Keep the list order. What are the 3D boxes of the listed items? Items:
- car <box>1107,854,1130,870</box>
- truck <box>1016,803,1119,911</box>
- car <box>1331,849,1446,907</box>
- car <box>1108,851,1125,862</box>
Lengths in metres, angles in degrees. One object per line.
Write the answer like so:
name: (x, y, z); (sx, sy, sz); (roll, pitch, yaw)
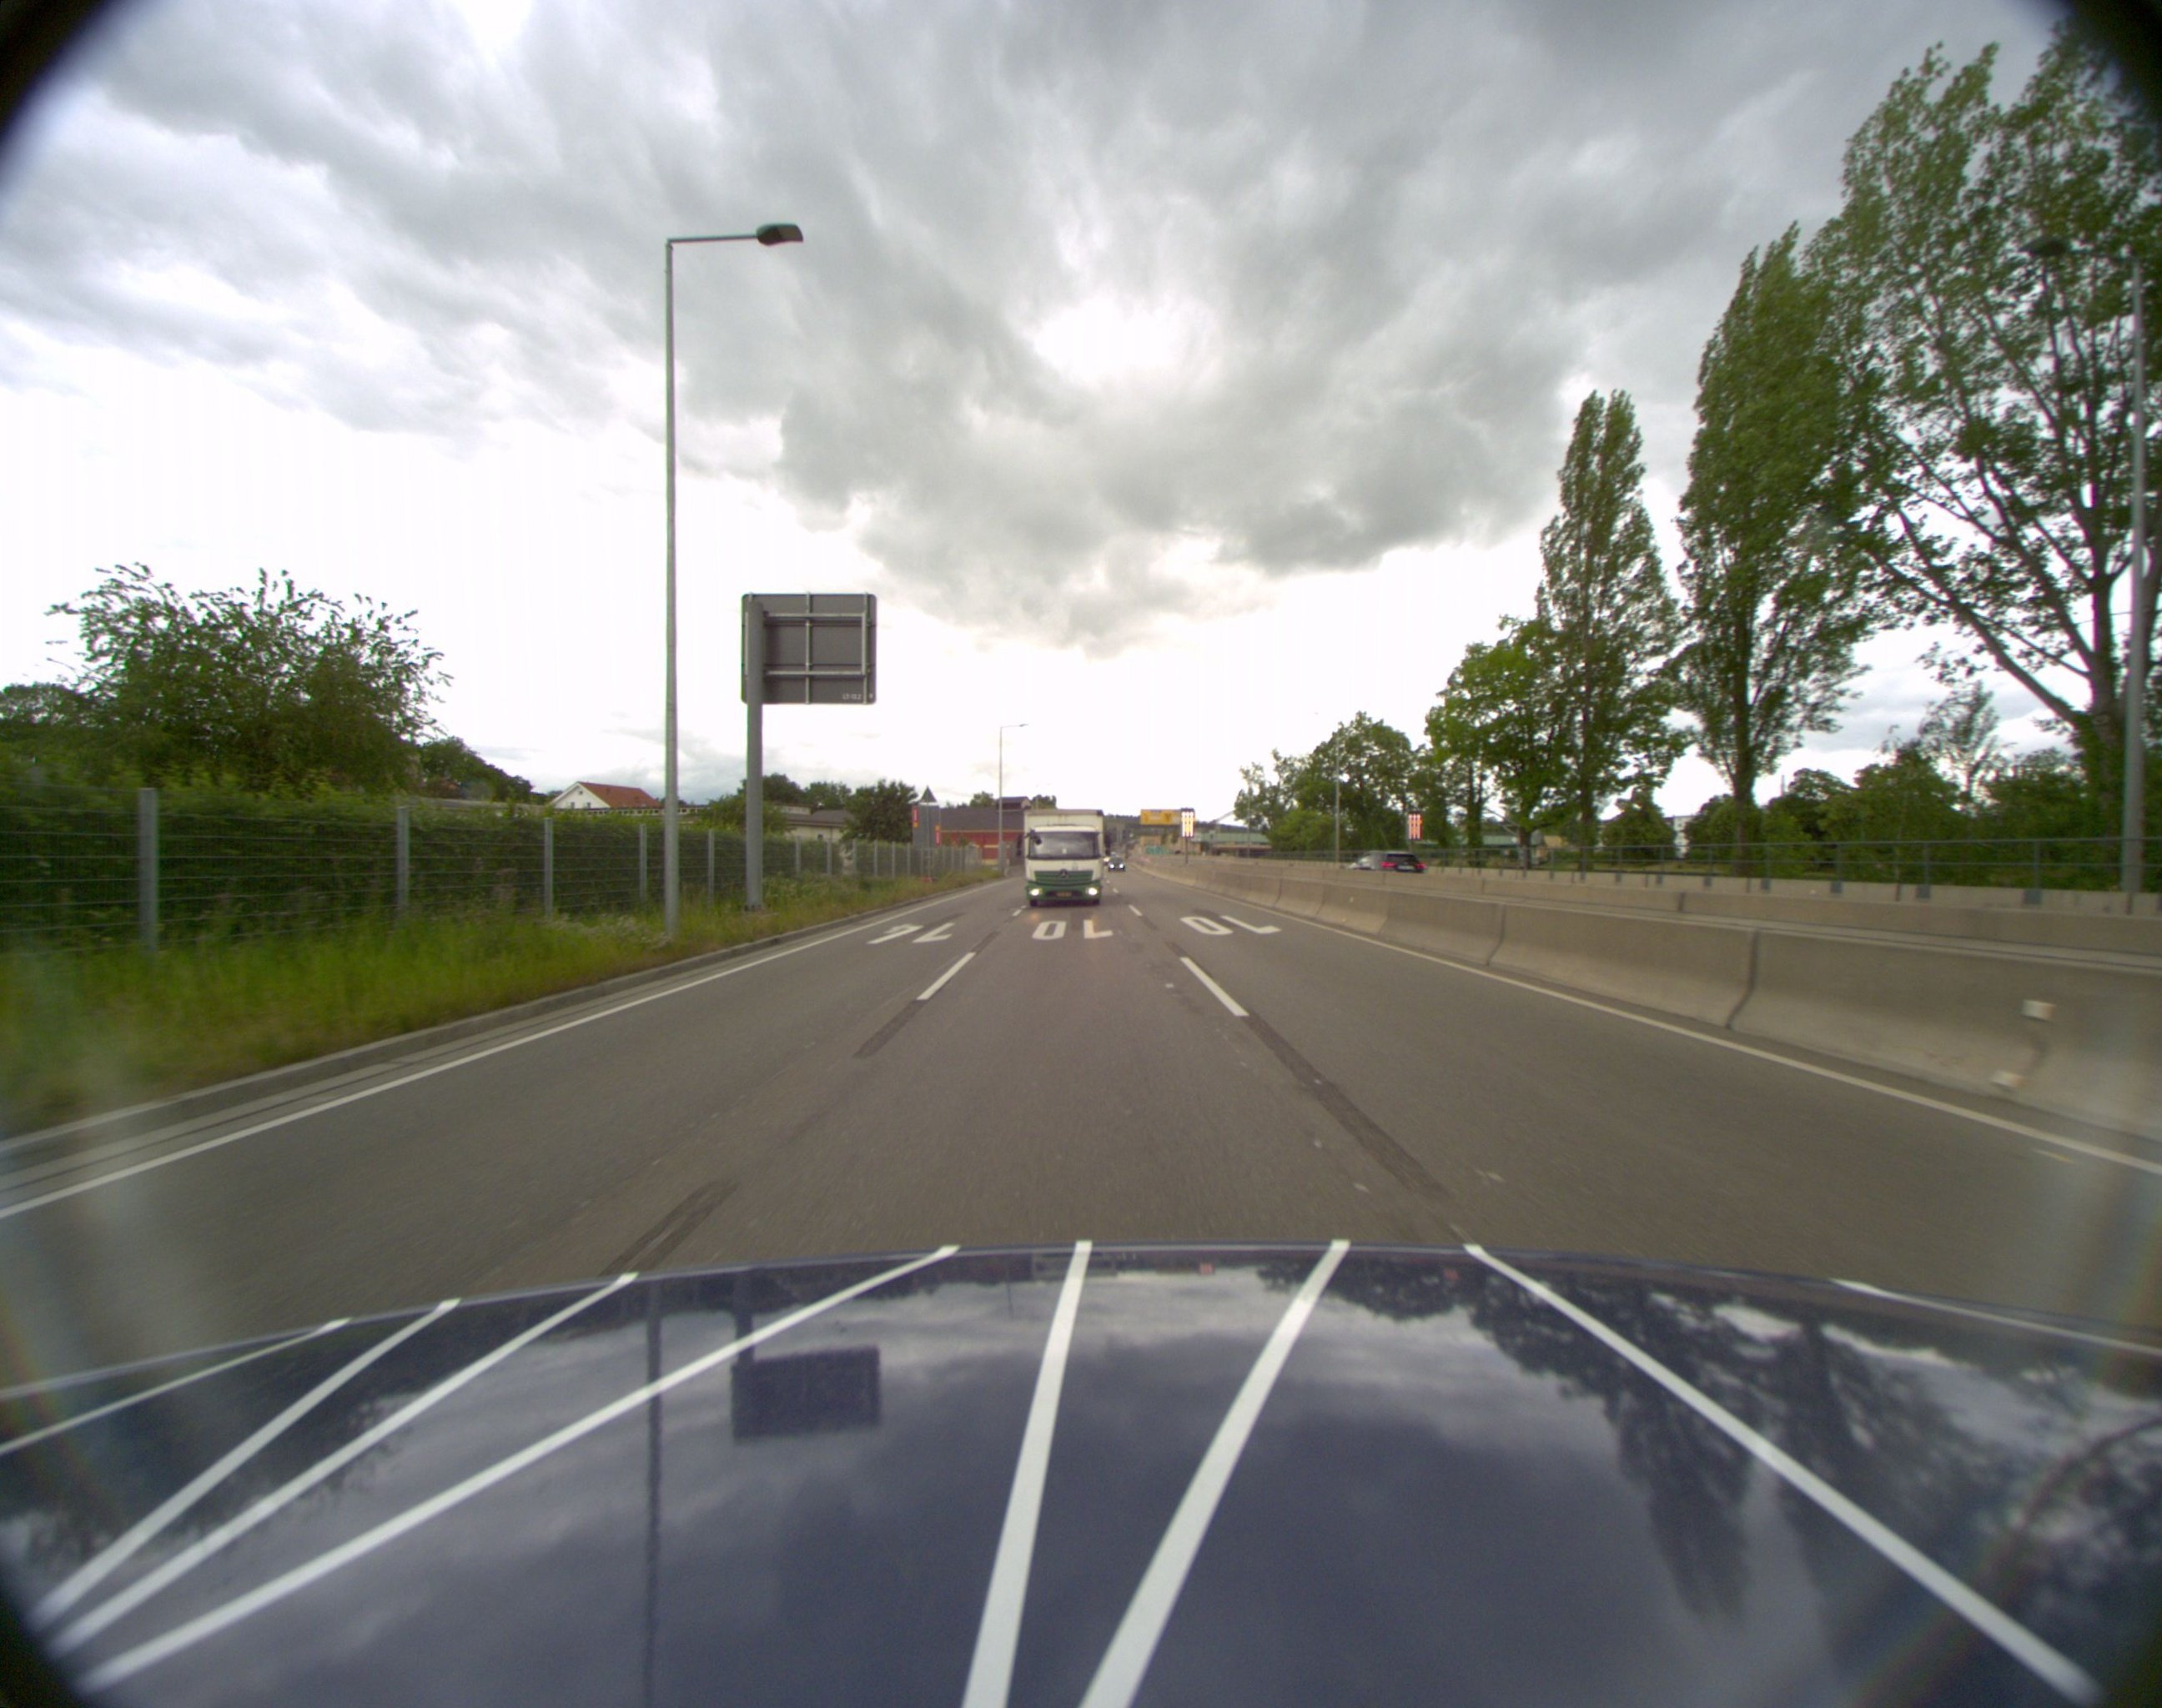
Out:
car: (3.644, 0.761, 74.768); (1.998, 1.444, 4.000); (-2, 1, 1)
truck: (-0.449, 0.052, 26.591); (2.943, 3.065, 8.385); (-2, 1, -1)
car: (11.565, 0.833, 29.028); (2.335, 1.914, 5.002); (-2, 1, 1)
car: (5.369, 0.363, 115.164); (1.999, 1.444, 3.998); (-2, 1, -4)
